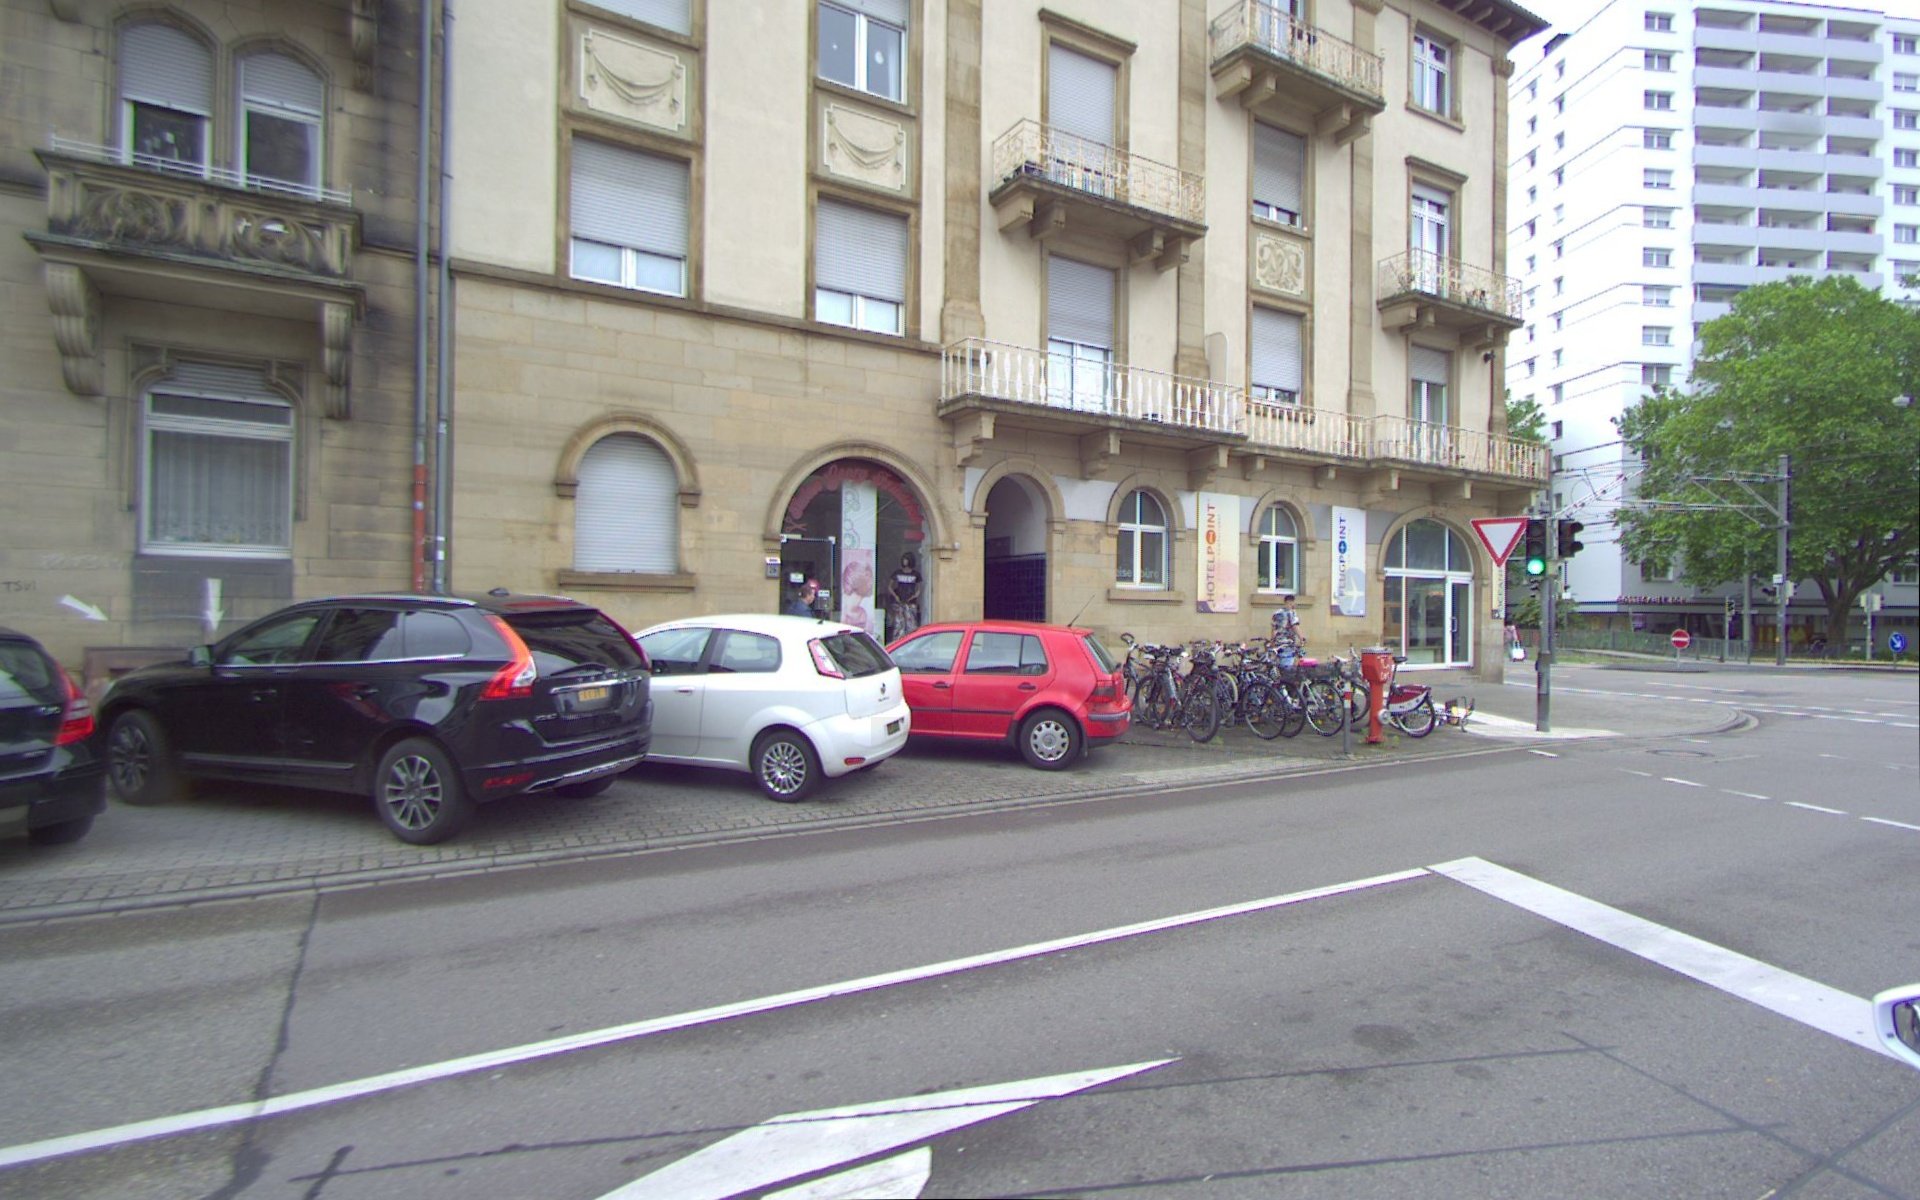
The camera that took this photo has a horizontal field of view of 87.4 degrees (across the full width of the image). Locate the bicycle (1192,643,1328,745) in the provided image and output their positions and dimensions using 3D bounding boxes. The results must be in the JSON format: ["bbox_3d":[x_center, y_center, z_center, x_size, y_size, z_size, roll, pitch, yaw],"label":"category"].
[{"bbox_3d":[3.941,1.205,13.353,0.437,1.050,1.876,1,4,-31],"label":"bicycle"}]

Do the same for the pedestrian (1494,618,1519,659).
[{"bbox_3d":[21.999,1.541,40.429,0.577,1.624,0.733,0,-1,-6],"label":"pedestrian"}]

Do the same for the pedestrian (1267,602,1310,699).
[{"bbox_3d":[6.237,0.943,19.089,0.544,1.809,0.564,1,-1,-29],"label":"pedestrian"}]

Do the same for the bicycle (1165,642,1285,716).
[{"bbox_3d":[4.016,1.163,15.165,1.973,1.041,0.499,1,-1,-30],"label":"bicycle"}]

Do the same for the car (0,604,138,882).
[{"bbox_3d":[-7.318,0.773,6.302,3.923,1.514,1.730,2,1,23],"label":"car"}]

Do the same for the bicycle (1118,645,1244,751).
[{"bbox_3d":[2.755,1.194,12.738,0.436,1.050,1.879,1,3,-26],"label":"bicycle"}]

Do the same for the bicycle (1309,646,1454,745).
[{"bbox_3d":[5.754,1.269,13.838,0.437,1.050,1.876,1,4,-31],"label":"bicycle"}]

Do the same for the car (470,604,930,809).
[{"bbox_3d":[-2.415,0.864,9.437,3.920,1.492,1.565,2,1,18],"label":"car"}]

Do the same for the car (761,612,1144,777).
[{"bbox_3d":[-0.005,0.939,11.064,3.919,1.492,1.685,1,1,12],"label":"car"}]

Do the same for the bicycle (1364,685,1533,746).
[{"bbox_3d":[6.794,1.587,14.071,1.017,0.451,1.876,0,5,-31],"label":"bicycle"}]

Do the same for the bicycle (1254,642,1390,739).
[{"bbox_3d":[5.018,1.229,14.054,0.437,1.050,1.876,1,4,-31],"label":"bicycle"}]

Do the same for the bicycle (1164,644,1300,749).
[{"bbox_3d":[3.492,1.211,13.070,0.437,1.050,1.876,1,4,-31],"label":"bicycle"}]

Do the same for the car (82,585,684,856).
[{"bbox_3d":[-4.469,0.777,7.876,4.141,1.673,1.732,1,-1,18],"label":"car"}]

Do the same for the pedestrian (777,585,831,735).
[{"bbox_3d":[-2.136,0.808,13.764,0.544,1.984,0.616,1,-1,-29],"label":"pedestrian"}]

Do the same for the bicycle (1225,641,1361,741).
[{"bbox_3d":[4.495,1.198,13.702,0.437,1.050,1.876,1,4,-31],"label":"bicycle"}]
